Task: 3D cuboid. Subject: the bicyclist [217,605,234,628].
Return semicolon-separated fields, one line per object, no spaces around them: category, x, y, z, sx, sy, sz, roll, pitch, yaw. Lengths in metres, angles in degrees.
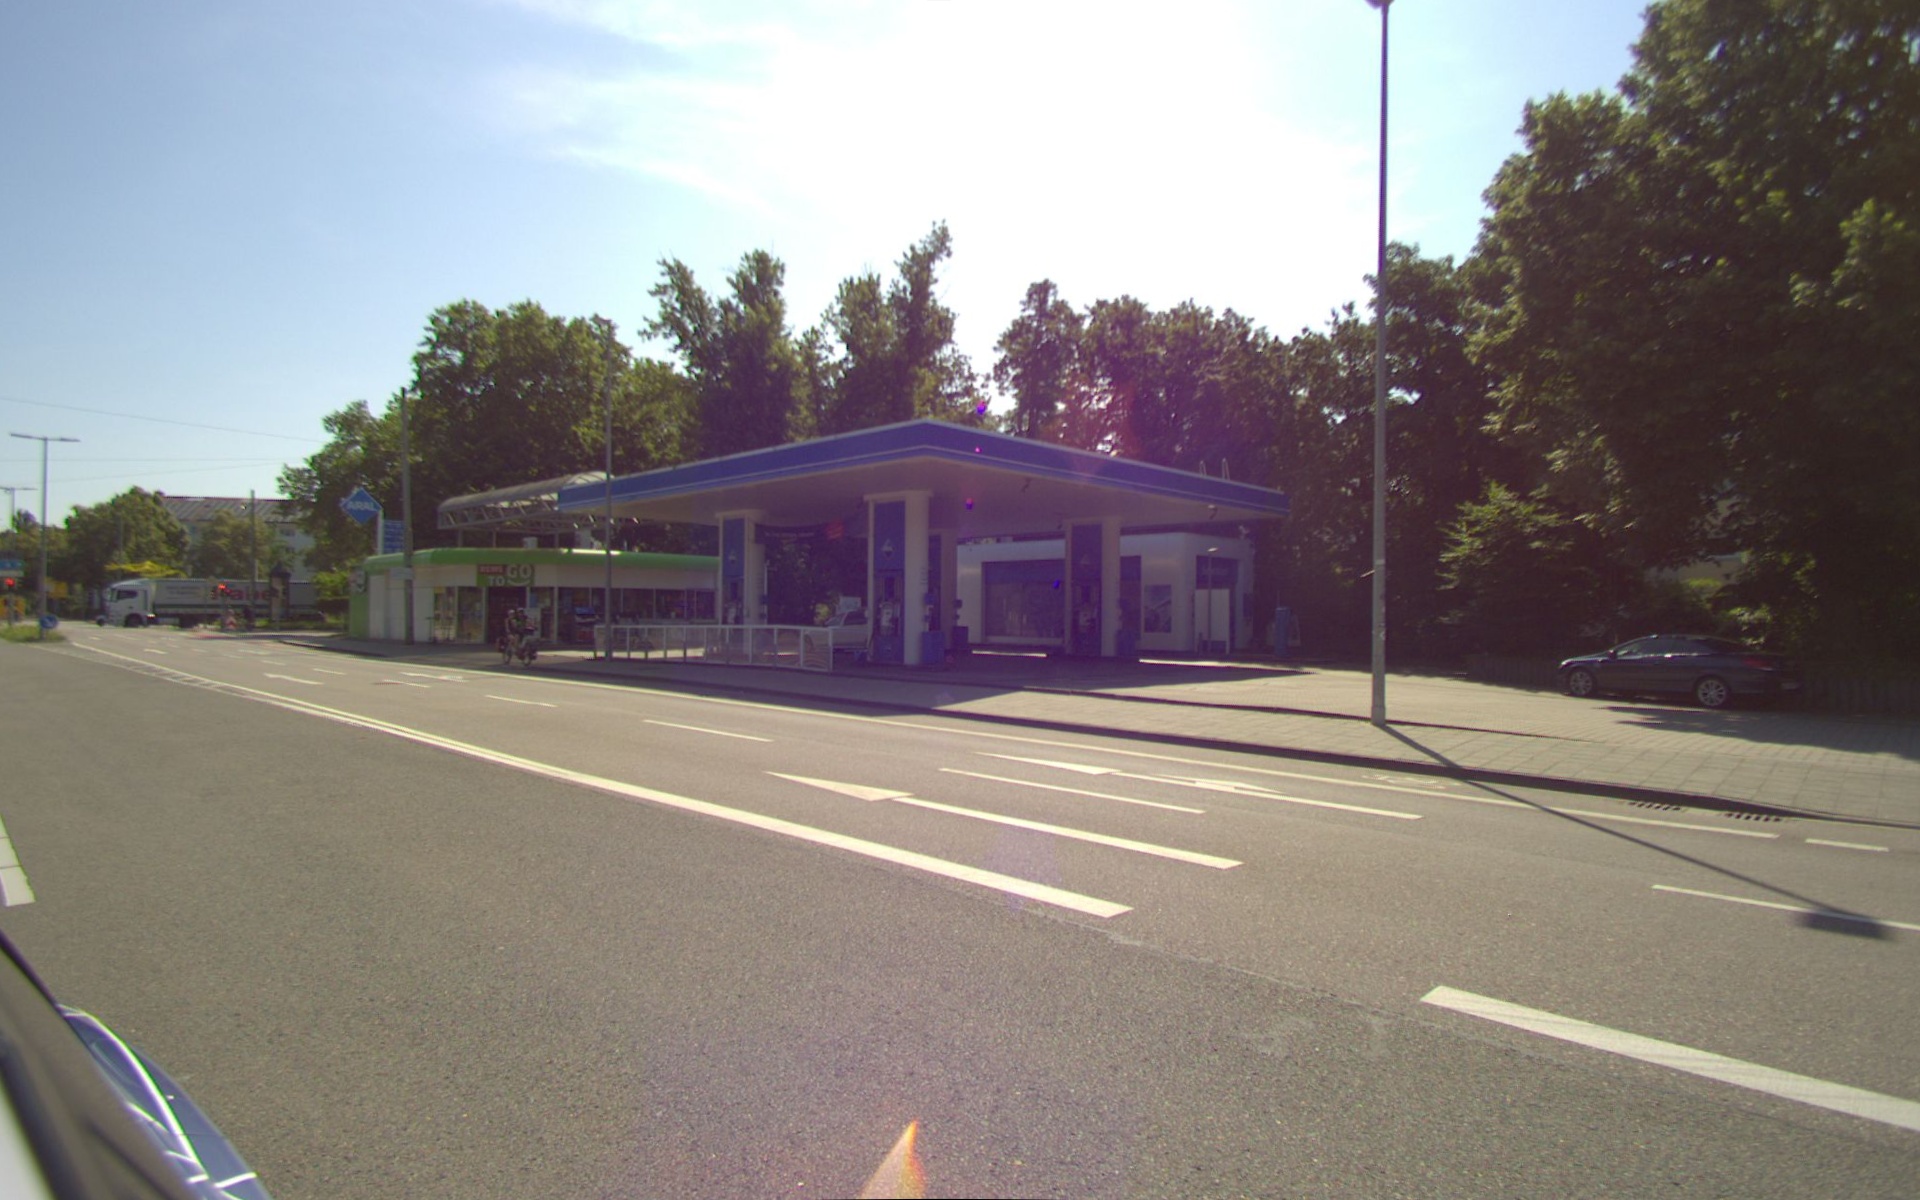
bicyclist;-46.535;1.052;64.129;0.737;1.431;0.701;-2;-2;35

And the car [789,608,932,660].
car;-3.800;1.213;37.799;5.964;1.795;1.824;-1;-2;43

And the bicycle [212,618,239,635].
bicycle;-46.658;1.696;64.249;2.070;1.066;0.744;0;-1;35

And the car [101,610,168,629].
car;-69.737;1.678;85.532;4.337;1.522;1.755;-1;-2;1

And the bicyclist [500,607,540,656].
bicyclist;-13.359;0.960;30.721;0.832;1.447;0.838;-3;-3;43

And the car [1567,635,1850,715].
car;14.814;1.422;20.347;1.774;1.356;4.257;1;-1;-23

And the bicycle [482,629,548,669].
bicycle;-13.560;1.468;30.798;2.773;1.103;0.816;-2;1;44

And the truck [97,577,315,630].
truck;-61.702;0.433;83.352;14.092;4.038;2.856;2;-2;-45

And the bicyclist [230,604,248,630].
bicyclist;-47.117;1.128;66.154;0.827;1.687;0.826;-3;-2;43

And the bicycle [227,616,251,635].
bicycle;-47.220;1.663;66.255;0.926;1.184;2.212;2;-2;-45

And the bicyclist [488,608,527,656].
bicyclist;-13.999;0.989;31.306;0.832;1.447;0.837;-2;-2;43

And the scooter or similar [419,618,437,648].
scooter or similar;-22.565;1.381;42.933;0.435;1.247;1.348;1;-2;-37

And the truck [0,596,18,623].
truck;-96.921;0.981;102.178;7.362;2.688;2.304;-1;-2;44
